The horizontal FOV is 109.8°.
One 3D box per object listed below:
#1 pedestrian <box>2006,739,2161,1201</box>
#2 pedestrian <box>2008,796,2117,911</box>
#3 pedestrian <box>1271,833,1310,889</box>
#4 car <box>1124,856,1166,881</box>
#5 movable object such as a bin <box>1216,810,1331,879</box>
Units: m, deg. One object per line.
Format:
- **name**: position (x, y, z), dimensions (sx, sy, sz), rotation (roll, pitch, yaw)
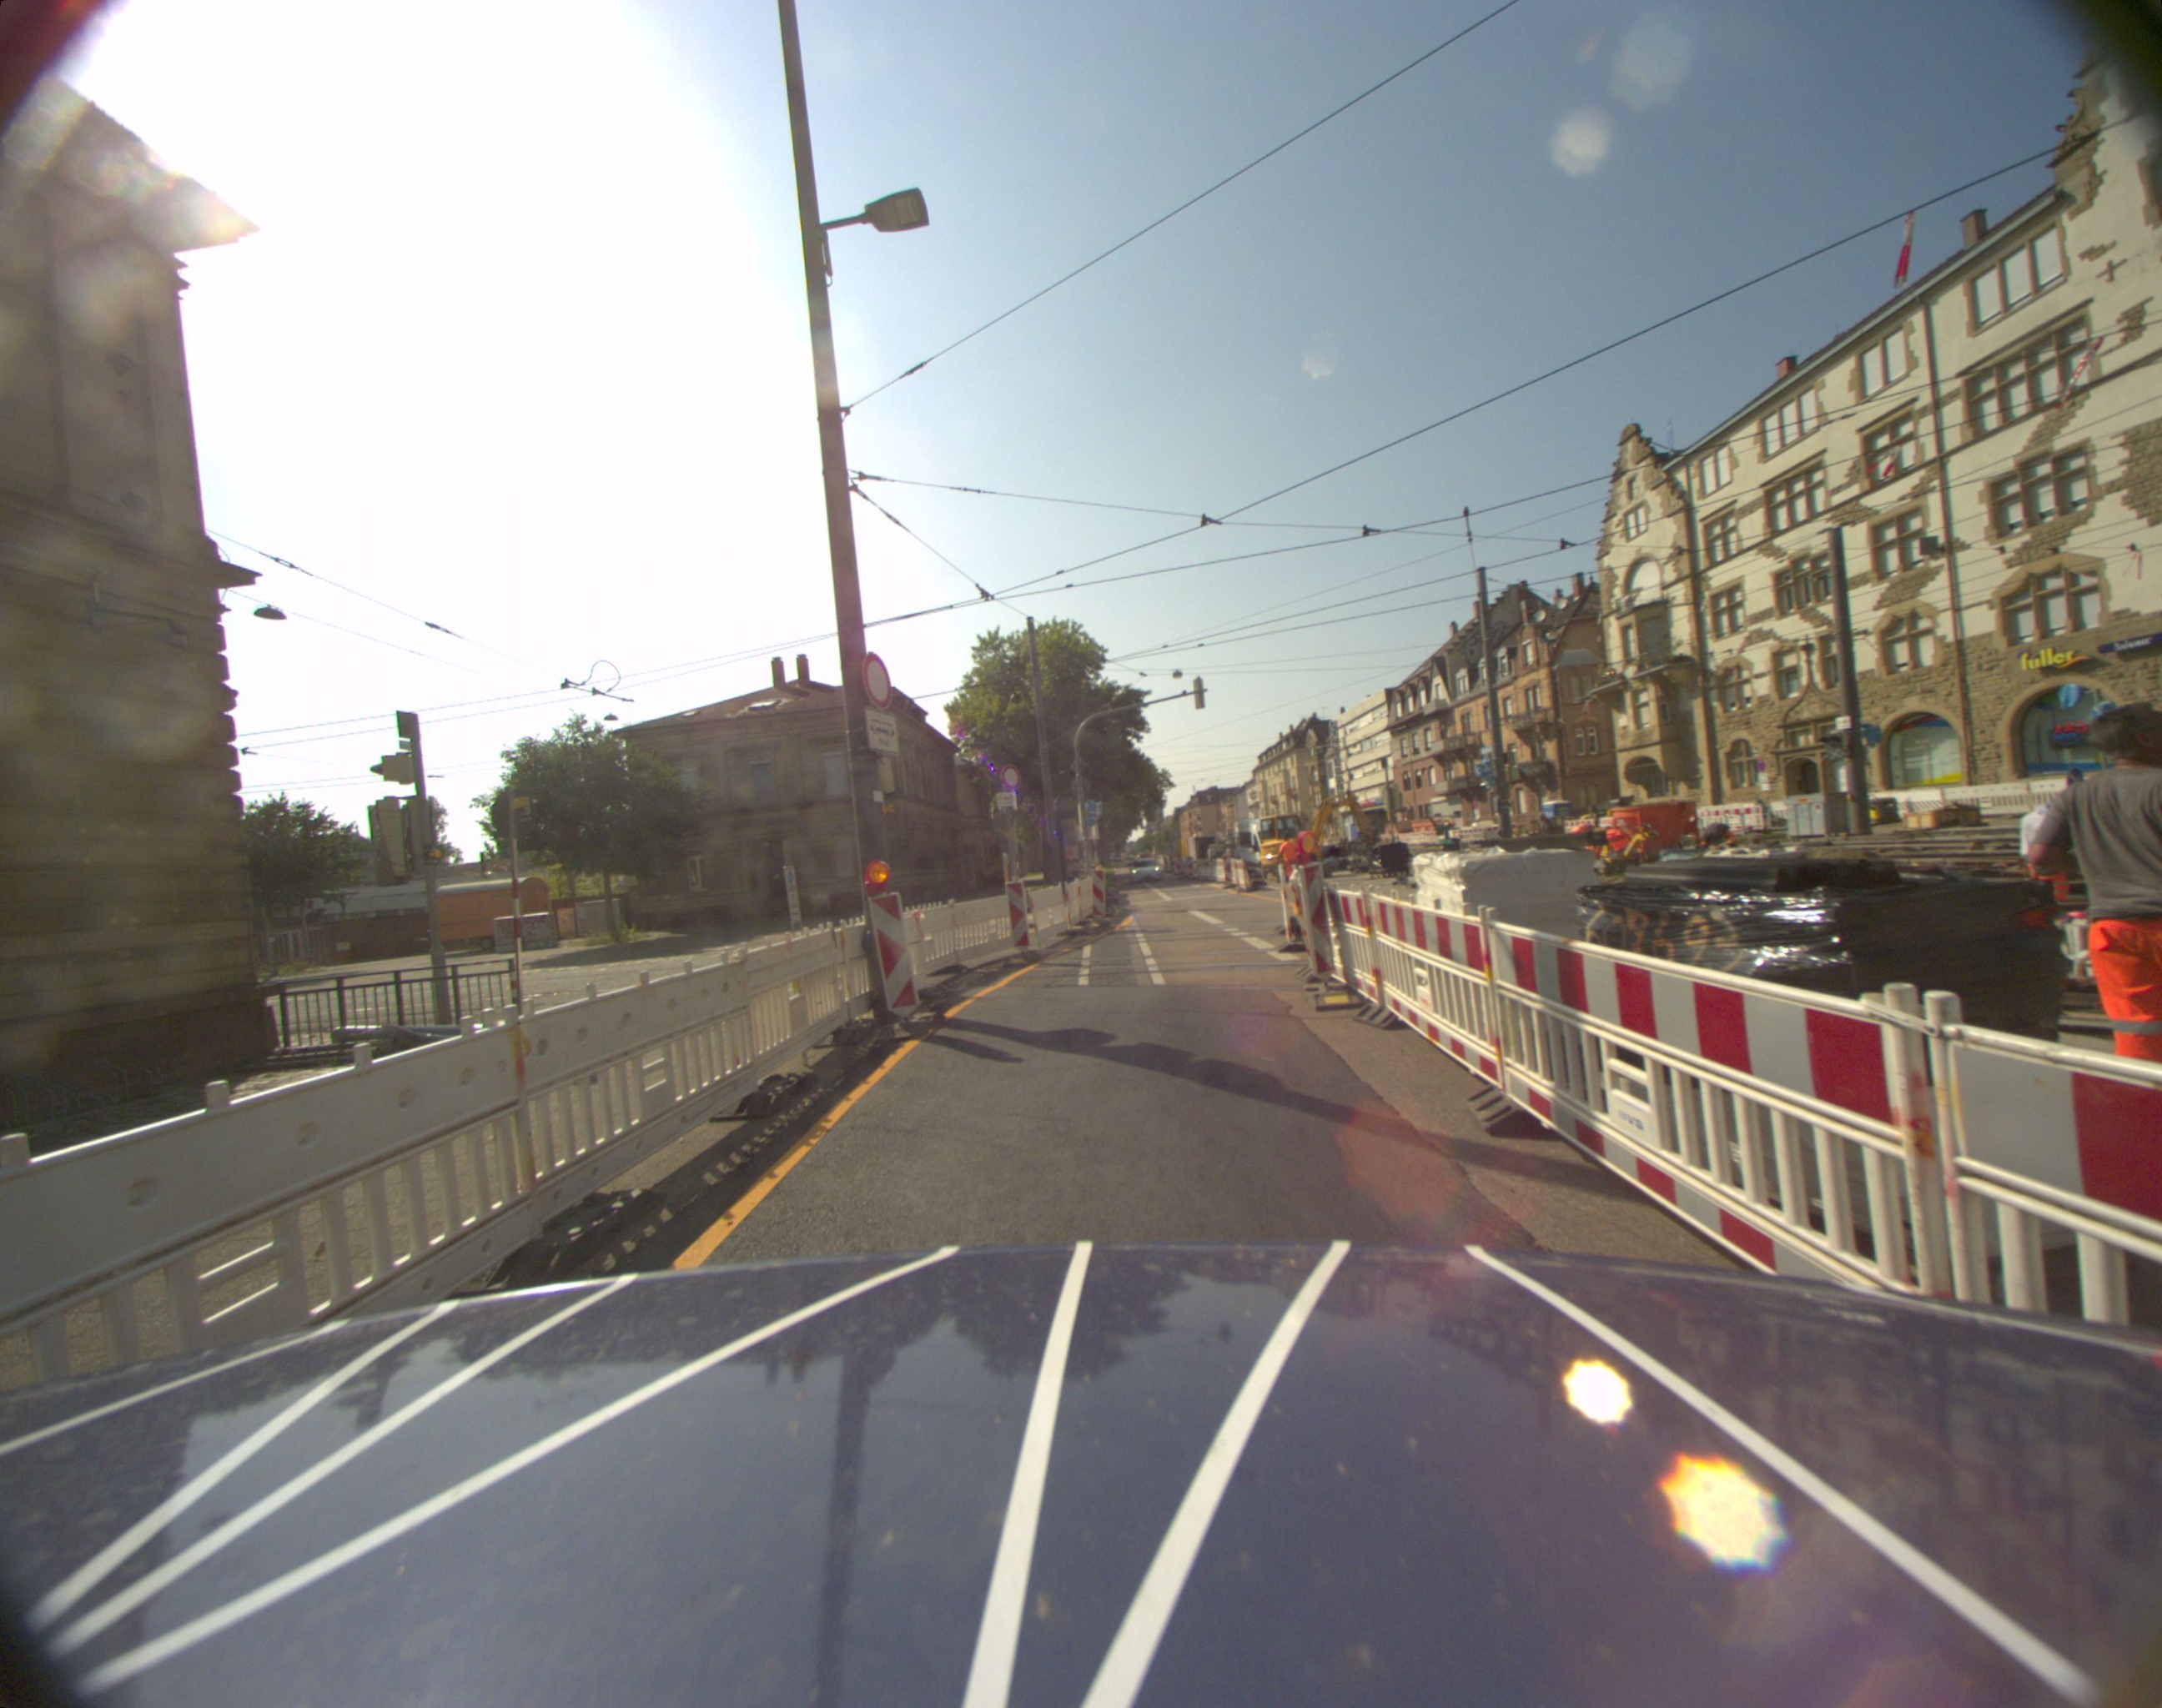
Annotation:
- **pedestrian**: position (4.305, 0.433, 2.940), dimensions (0.466, 1.764, 0.719), rotation (-6, 1, -18)
- **pedestrian**: position (11.294, -0.008, 8.755), dimensions (0.548, 1.239, 0.547), rotation (-6, 1, -15)
- **pedestrian**: position (6.772, 0.228, 24.585), dimensions (0.702, 1.729, 0.911), rotation (-6, 1, -19)
- **car**: position (3.995, 0.882, 48.003), dimensions (1.999, 1.387, 3.999), rotation (-5, 0, -3)
- **movable object such as a bin**: position (7.381, -0.383, 29.343), dimensions (3.173, 2.395, 2.915), rotation (-3, 2, -18)
